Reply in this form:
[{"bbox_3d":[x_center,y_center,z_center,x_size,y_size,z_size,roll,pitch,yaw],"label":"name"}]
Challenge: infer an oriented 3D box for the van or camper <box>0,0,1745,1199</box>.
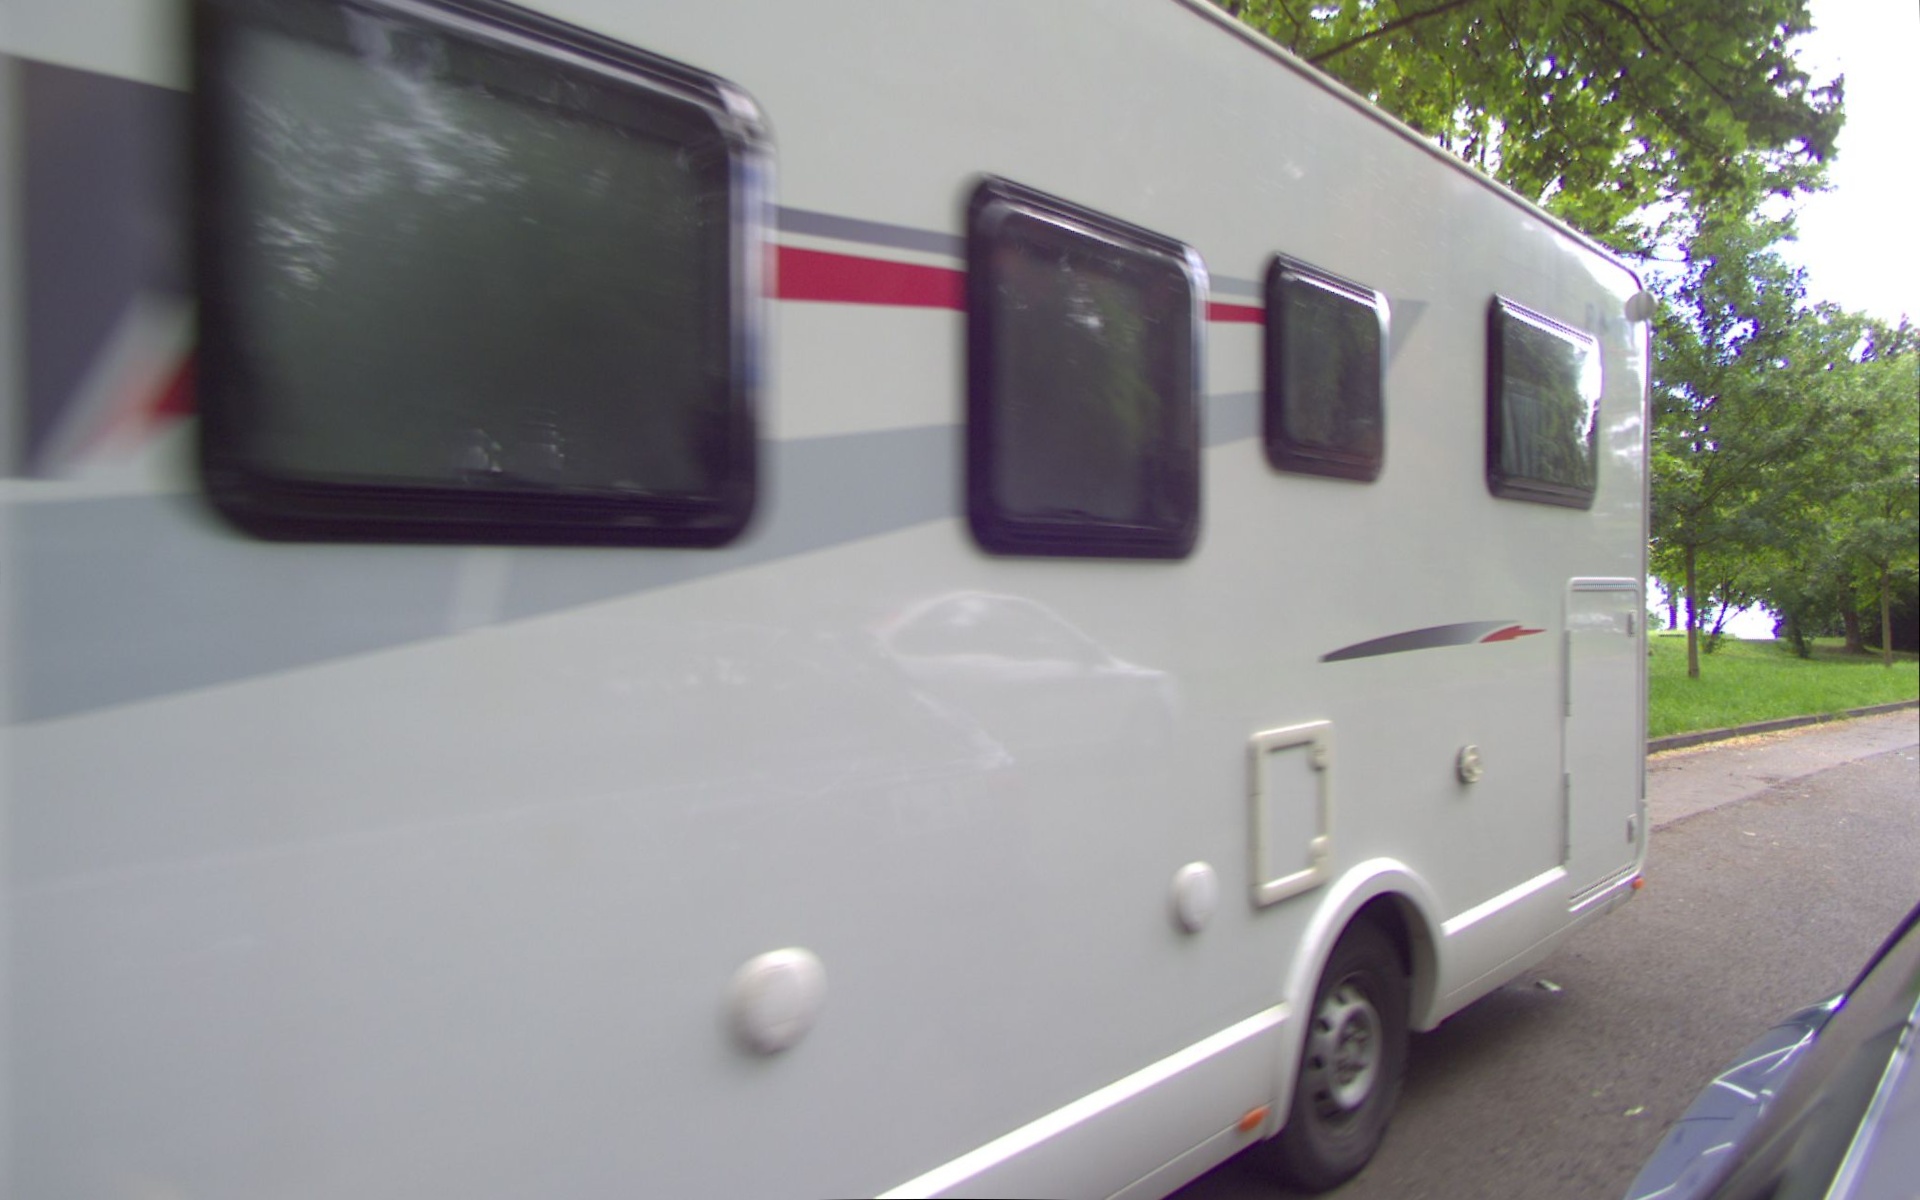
[{"bbox_3d":[-0.265,-0.088,2.884,7.261,3.018,2.429,0,-1,-40],"label":"van or camper"}]
